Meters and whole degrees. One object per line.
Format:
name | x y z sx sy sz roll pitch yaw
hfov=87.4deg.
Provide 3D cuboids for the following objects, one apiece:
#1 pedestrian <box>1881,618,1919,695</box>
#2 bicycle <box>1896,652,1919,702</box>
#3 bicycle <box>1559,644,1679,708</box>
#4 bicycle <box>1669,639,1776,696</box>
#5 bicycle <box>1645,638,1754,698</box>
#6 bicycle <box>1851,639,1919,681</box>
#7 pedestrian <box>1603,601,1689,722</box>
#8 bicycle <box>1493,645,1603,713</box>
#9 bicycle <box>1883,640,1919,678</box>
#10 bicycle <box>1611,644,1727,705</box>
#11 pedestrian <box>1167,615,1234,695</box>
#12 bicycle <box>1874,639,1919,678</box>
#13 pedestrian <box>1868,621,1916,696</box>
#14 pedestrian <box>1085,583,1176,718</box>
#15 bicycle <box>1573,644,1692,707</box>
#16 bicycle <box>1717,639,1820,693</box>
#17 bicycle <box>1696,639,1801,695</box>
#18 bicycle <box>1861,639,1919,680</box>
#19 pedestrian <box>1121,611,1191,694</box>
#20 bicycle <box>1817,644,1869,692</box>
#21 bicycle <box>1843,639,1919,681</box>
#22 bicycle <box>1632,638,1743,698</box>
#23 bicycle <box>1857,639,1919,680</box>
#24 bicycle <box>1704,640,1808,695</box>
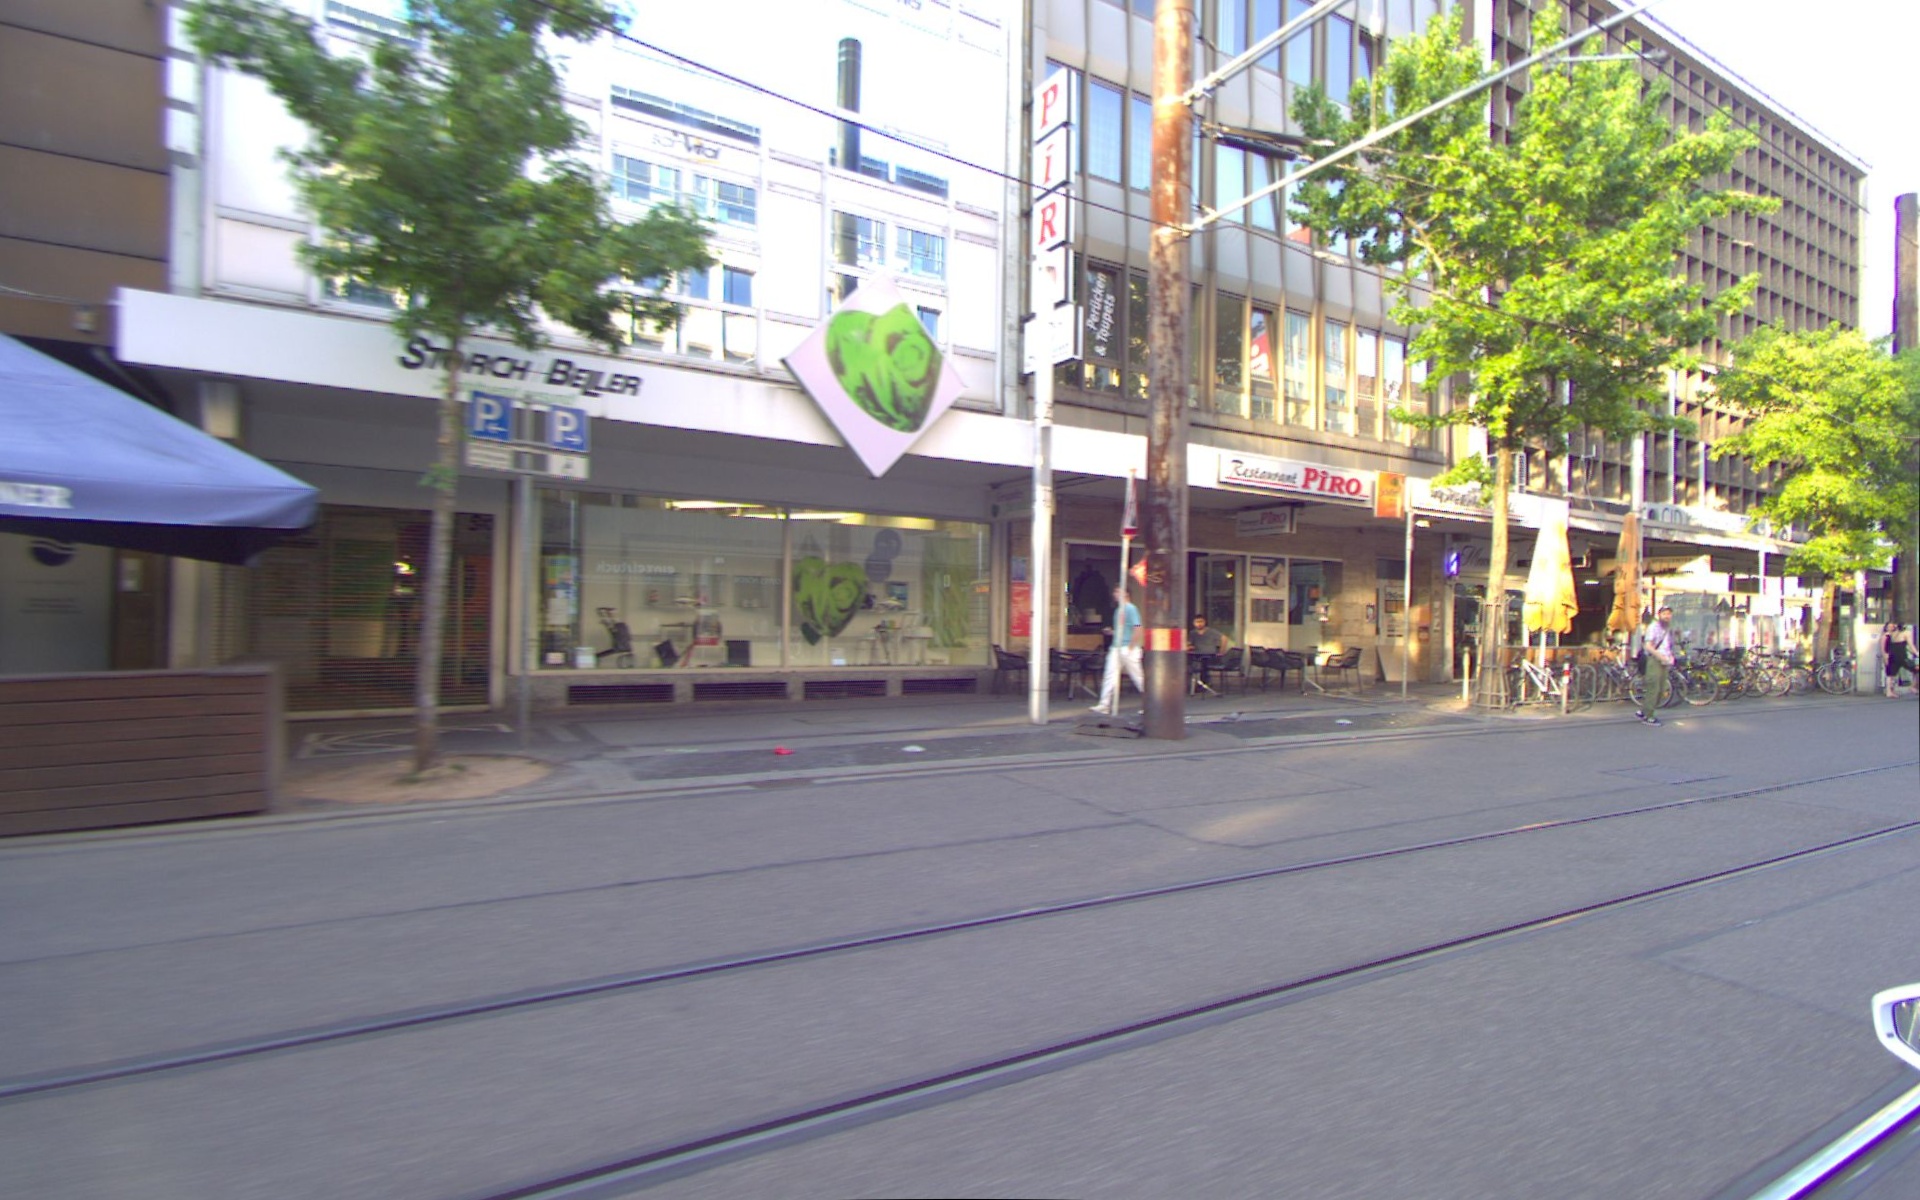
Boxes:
pedestrian | 21.494 1.281 22.842 0.525 1.722 0.603 1 0 -2
bicycle | 21.677 1.723 22.617 1.759 1.059 0.485 1 0 -34
bicycle | 12.031 1.357 18.388 0.485 1.003 1.759 0 1 -36
bicycle | 16.542 1.443 21.828 0.485 1.085 1.759 1 1 -36
bicycle | 15.524 1.405 21.139 0.485 1.085 1.759 1 1 -36
bicycle | 26.062 1.659 27.993 0.484 1.059 1.763 1 1 -30
pedestrian | 10.752 0.945 15.773 0.806 1.816 0.991 1 -1 15
bicycle | 9.976 1.315 17.113 0.481 0.978 1.772 2 1 -14
bicycle | 28.140 1.735 29.260 0.484 1.059 1.763 1 1 -30
bicycle | 13.661 1.417 19.399 0.485 1.003 1.759 0 1 -36
pedestrian | 4.268 0.964 17.813 0.902 1.343 0.666 2 1 -33
bicycle | 27.634 1.717 28.990 0.484 1.059 1.763 1 1 -30
pedestrian | 21.724 1.349 23.412 0.525 1.722 0.603 1 0 -2
pedestrian | 2.385 0.697 14.103 0.977 1.816 0.682 2 1 -26
bicycle | 12.471 1.373 18.670 0.485 1.003 1.759 0 1 -36
bicycle | 18.567 1.504 23.097 0.485 1.085 1.759 1 1 -36
bicycle | 17.583 1.481 22.435 0.485 1.085 1.759 1 1 -36
bicycle | 26.742 1.684 28.438 0.484 1.059 1.763 1 1 -30
pedestrian | 3.332 0.885 17.078 0.902 1.343 0.666 2 1 -33
bicycle | 20.834 1.581 23.696 1.759 1.059 0.485 1 0 -34
bicycle | 25.581 1.641 27.698 0.484 1.059 1.763 1 1 -30
bicycle | 15.049 1.387 20.821 0.485 1.085 1.759 1 1 -36
bicycle | 26.537 1.677 28.314 0.484 1.059 1.763 1 1 -30
bicycle | 18.014 1.497 22.766 0.485 1.085 1.759 1 1 -36
